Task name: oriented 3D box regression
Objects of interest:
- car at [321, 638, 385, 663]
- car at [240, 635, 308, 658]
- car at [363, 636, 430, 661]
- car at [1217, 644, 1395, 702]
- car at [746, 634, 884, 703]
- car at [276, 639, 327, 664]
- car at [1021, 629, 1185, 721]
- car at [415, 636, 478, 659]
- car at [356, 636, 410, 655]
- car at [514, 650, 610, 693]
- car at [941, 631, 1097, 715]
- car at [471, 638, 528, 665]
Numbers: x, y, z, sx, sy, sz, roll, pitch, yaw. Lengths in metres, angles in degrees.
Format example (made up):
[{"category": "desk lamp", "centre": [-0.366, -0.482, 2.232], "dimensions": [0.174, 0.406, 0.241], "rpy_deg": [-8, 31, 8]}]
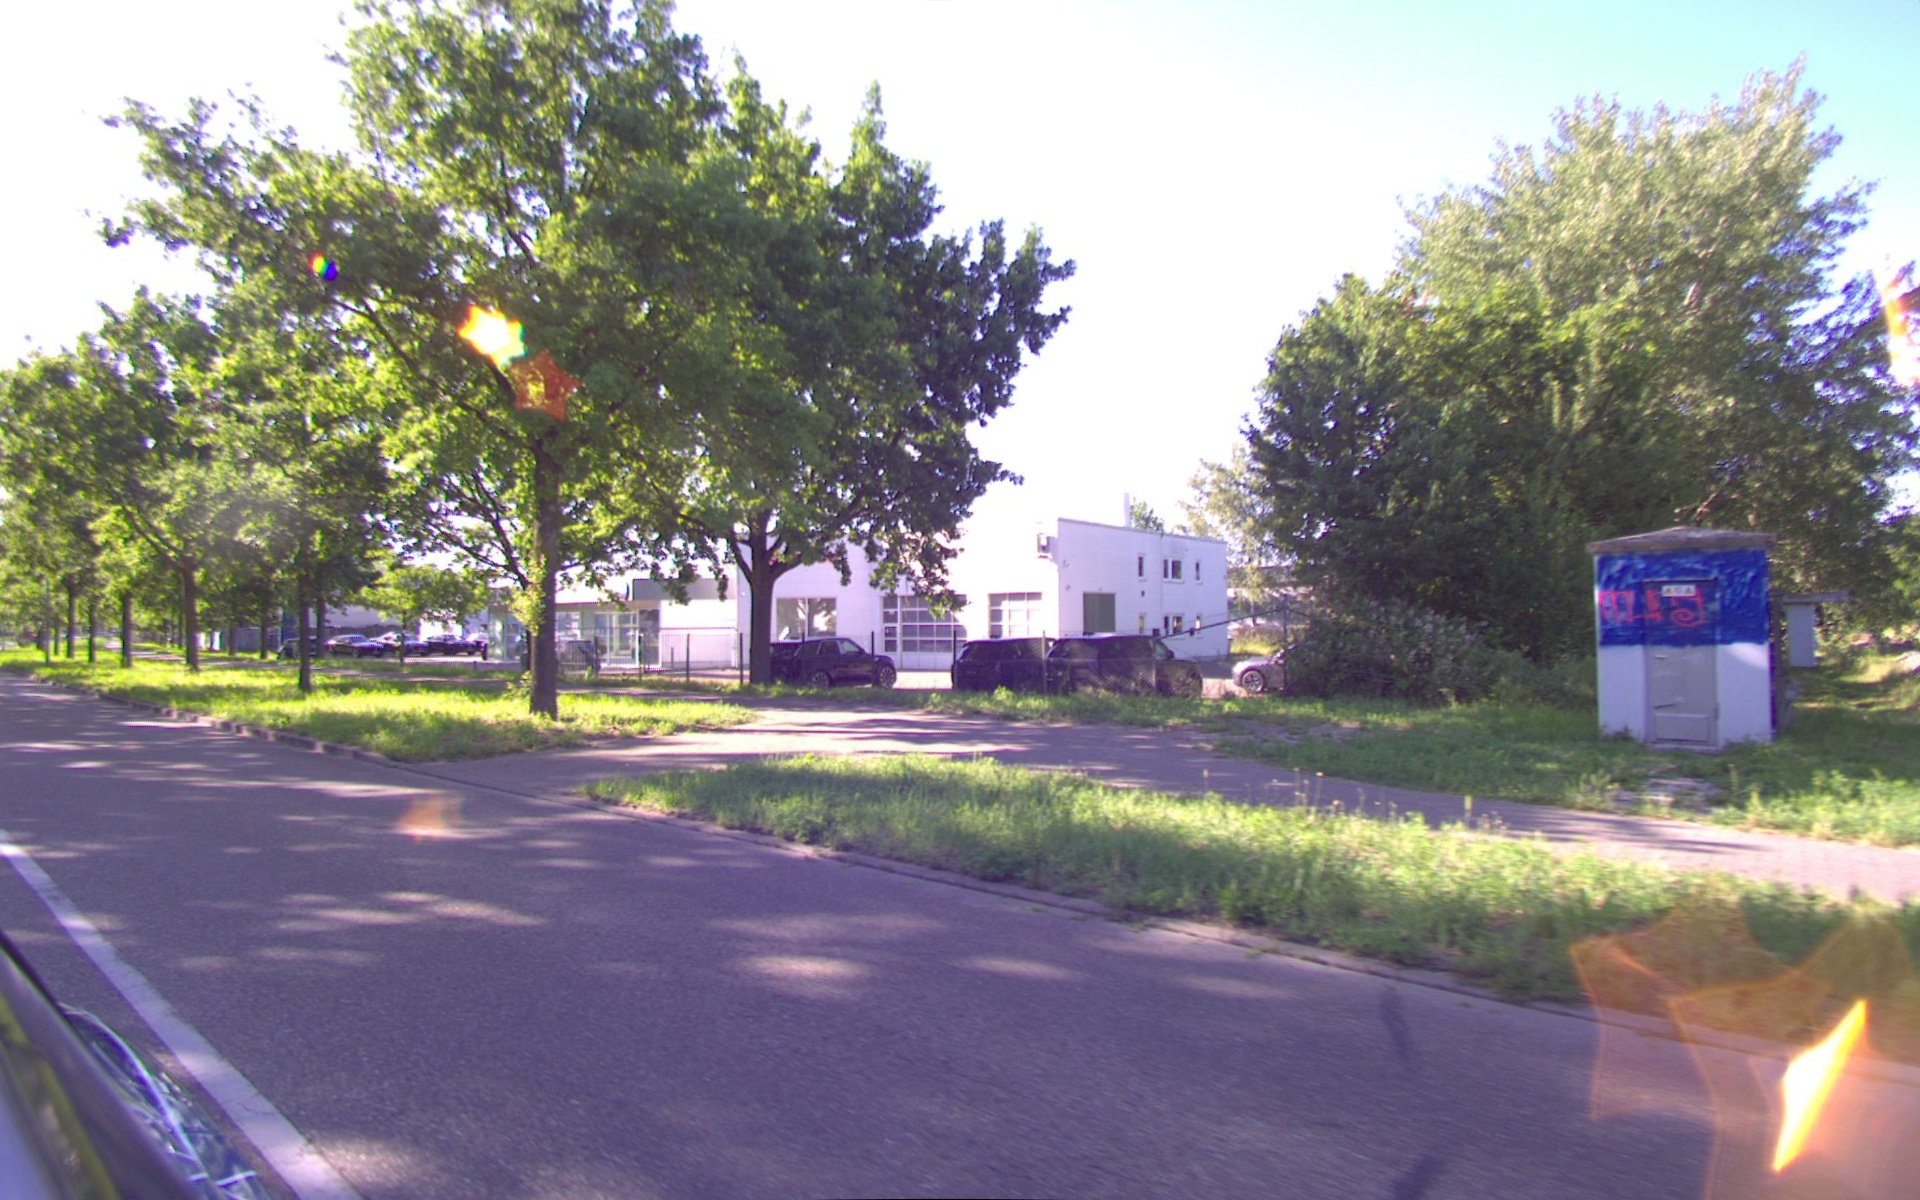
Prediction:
[{"category": "car", "centre": [-44.130, 3.671, 73.550], "dimensions": [4.480, 1.688, 1.981], "rpy_deg": [-2, 0, 29]}, {"category": "car", "centre": [-54.647, 3.683, 80.630], "dimensions": [4.260, 1.530, 1.863], "rpy_deg": [-2, 0, -43]}, {"category": "car", "centre": [-42.206, 3.622, 75.793], "dimensions": [5.239, 1.730, 1.980], "rpy_deg": [-2, 0, 31]}, {"category": "car", "centre": [10.726, 2.222, 31.581], "dimensions": [4.877, 1.578, 1.975], "rpy_deg": [-2, 0, 38]}, {"category": "car", "centre": [-4.394, 2.044, 31.154], "dimensions": [1.996, 1.815, 3.951], "rpy_deg": [-2, 0, 36]}, {"category": "car", "centre": [-41.129, 3.222, 63.238], "dimensions": [2.531, 1.481, 1.430], "rpy_deg": [0, -2, -29]}, {"category": "car", "centre": [3.478, 1.684, 24.020], "dimensions": [1.997, 1.815, 4.150], "rpy_deg": [-2, 0, 38]}, {"category": "car", "centre": [-39.656, 3.665, 78.131], "dimensions": [5.243, 1.702, 1.978], "rpy_deg": [-2, 0, 32]}, {"category": "car", "centre": [-52.438, 4.134, 91.981], "dimensions": [3.940, 1.530, 1.753], "rpy_deg": [-2, 0, -43]}, {"category": "car", "centre": [-17.549, 3.098, 44.526], "dimensions": [5.015, 1.610, 1.972], "rpy_deg": [-2, 0, 43]}, {"category": "car", "centre": [1.597, 1.790, 26.187], "dimensions": [1.997, 1.815, 4.150], "rpy_deg": [-2, 0, 38]}, {"category": "car", "centre": [-30.720, 3.378, 67.638], "dimensions": [1.969, 1.673, 5.268], "rpy_deg": [-2, -2, -7]}]
